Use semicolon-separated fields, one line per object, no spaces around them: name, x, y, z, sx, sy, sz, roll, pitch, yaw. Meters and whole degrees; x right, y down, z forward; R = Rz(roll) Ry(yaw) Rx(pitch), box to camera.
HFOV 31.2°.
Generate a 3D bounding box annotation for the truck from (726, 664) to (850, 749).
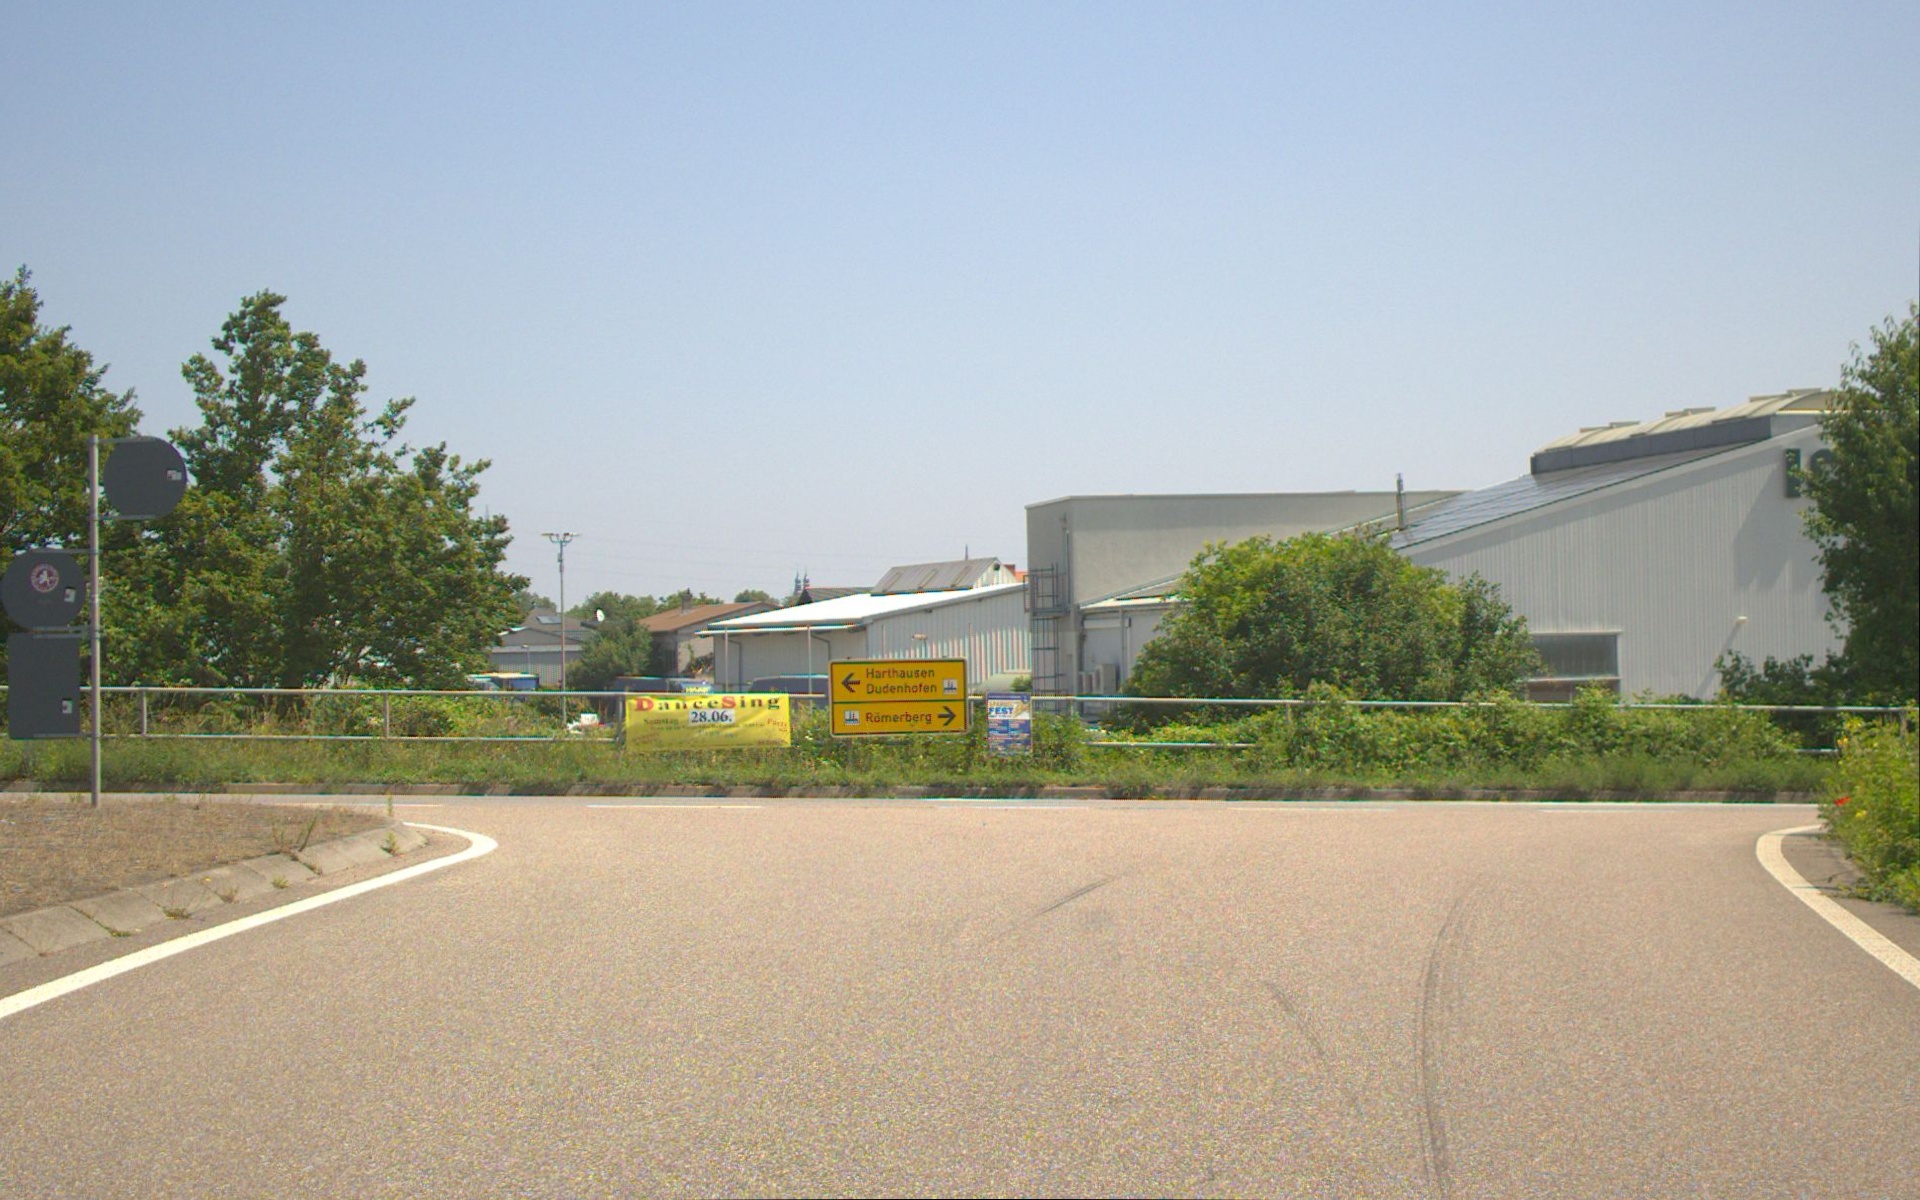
truck;-9.172;5.599;181.521;3.707;4.297;13.344;1;-2;-15
